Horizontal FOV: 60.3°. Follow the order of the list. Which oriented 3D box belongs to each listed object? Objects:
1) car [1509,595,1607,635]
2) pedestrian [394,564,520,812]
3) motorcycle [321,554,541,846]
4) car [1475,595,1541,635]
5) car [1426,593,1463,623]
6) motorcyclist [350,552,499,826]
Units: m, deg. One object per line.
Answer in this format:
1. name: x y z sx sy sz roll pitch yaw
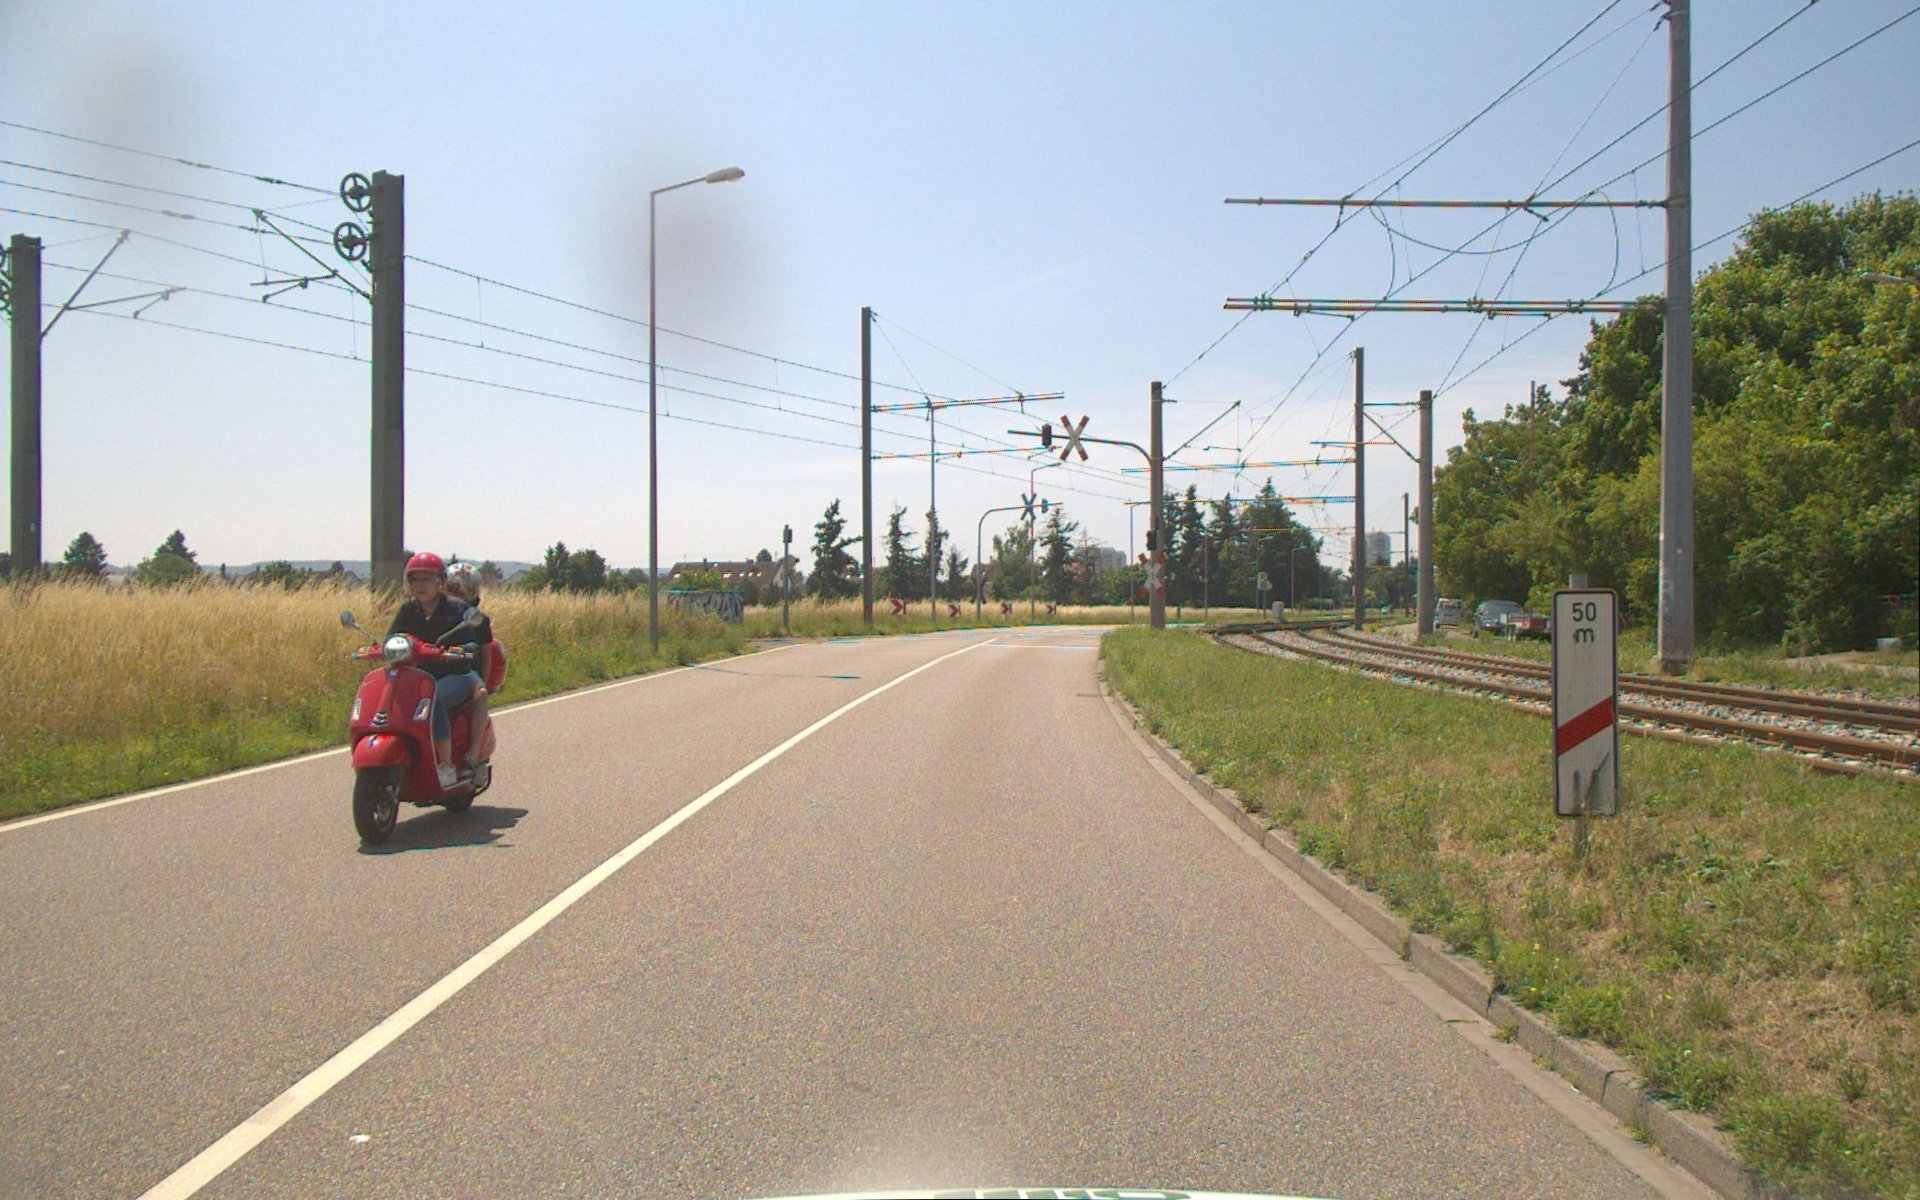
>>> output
1. car: 18.618 0.482 51.632 1.611 1.191 3.666 0 -1 -3
2. pedestrian: -3.247 0.548 10.719 0.629 1.563 0.577 0 1 -1
3. motorcycle: -3.220 0.529 10.293 0.689 1.614 2.147 0 2 -1
4. car: 20.551 0.582 62.153 1.758 1.451 4.744 -1 -1 11
5. car: 32.237 0.532 110.005 1.994 1.915 5.068 -1 -1 21
6. motorcyclist: -3.262 0.518 10.135 0.674 1.613 0.670 0 2 -1
